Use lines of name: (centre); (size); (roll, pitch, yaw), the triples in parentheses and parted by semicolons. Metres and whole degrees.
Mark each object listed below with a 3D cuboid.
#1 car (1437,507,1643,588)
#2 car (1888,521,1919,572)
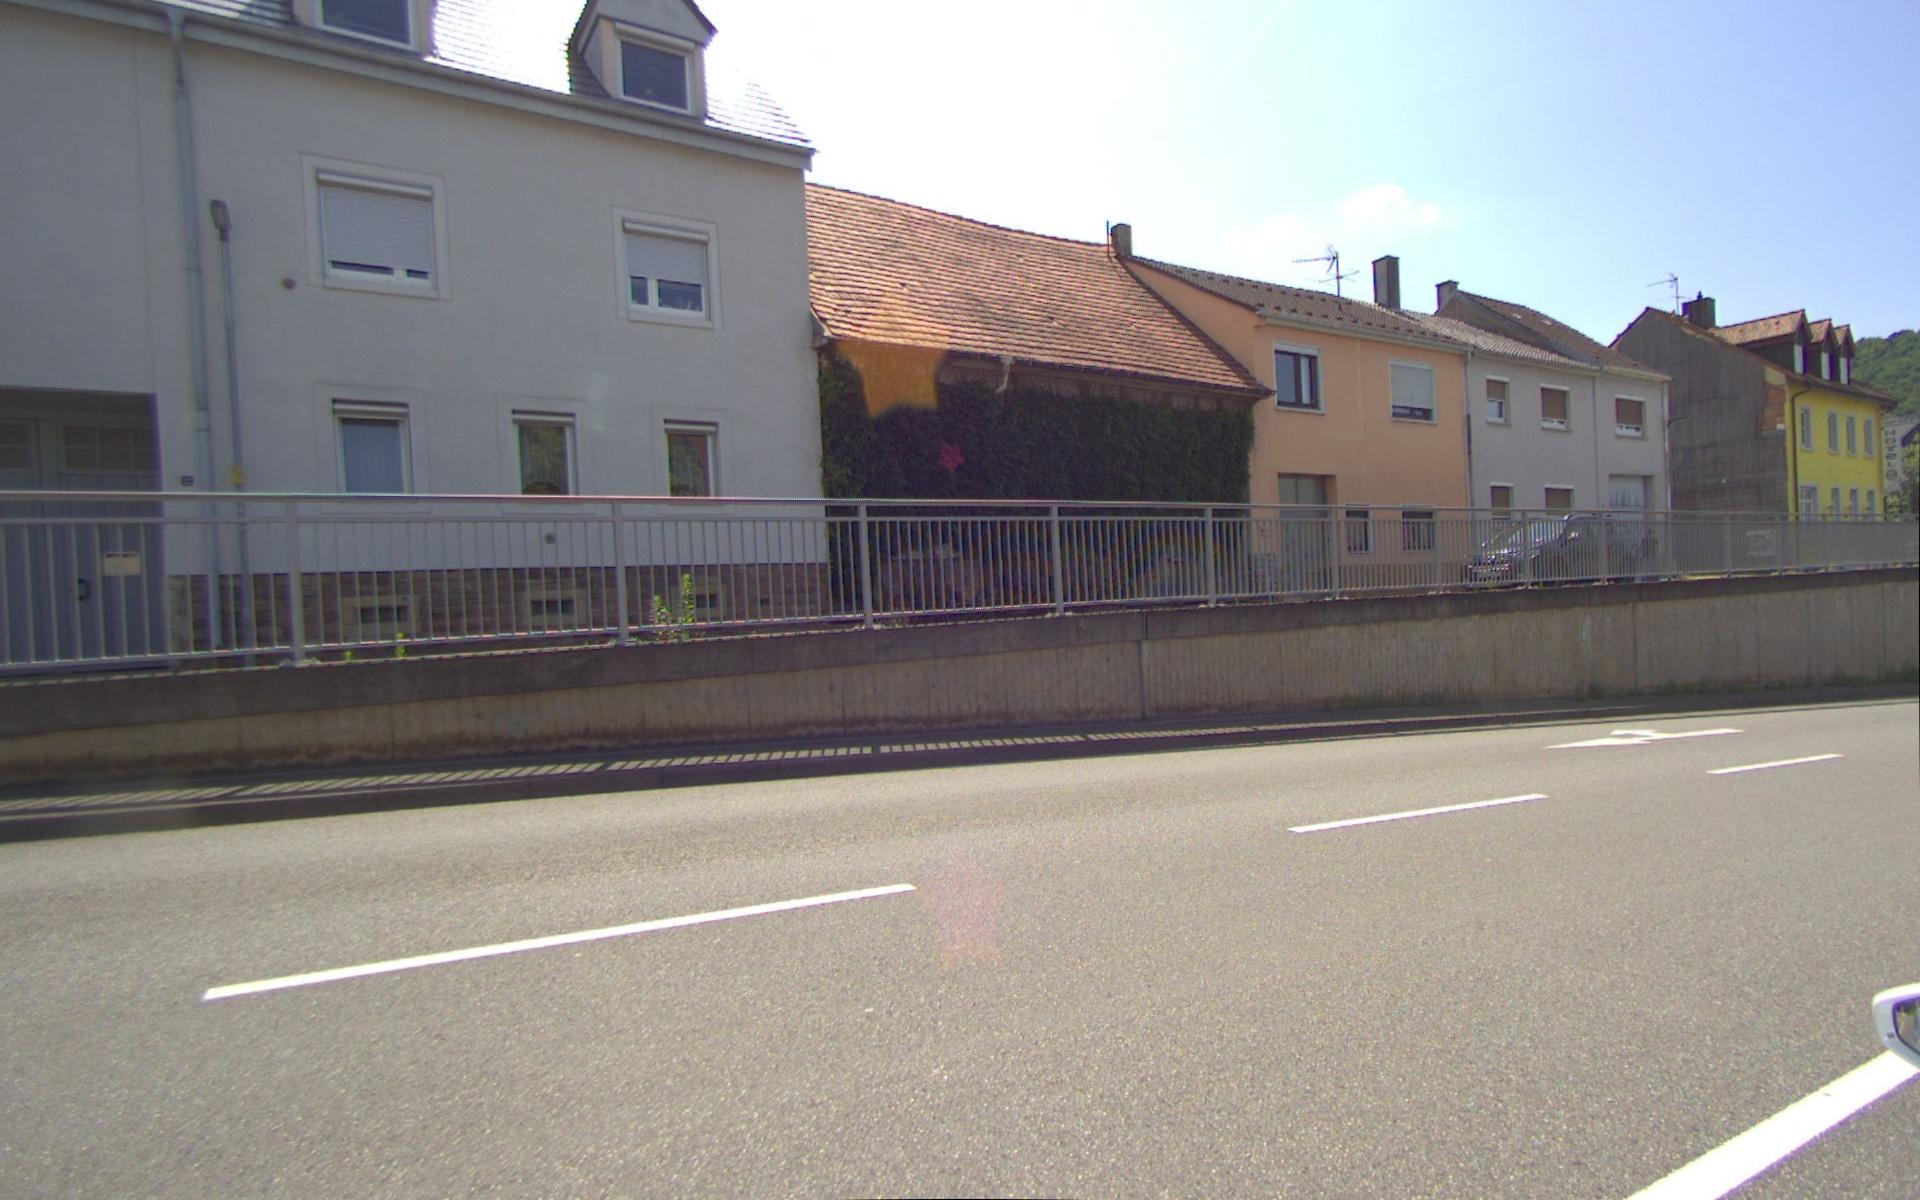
car: (11.547, -0.988, 19.920); (4.345, 1.424, 1.775); (-1, 0, -33)
car: (31.171, -1.684, 31.687); (4.345, 1.545, 1.788); (-1, 0, -33)
